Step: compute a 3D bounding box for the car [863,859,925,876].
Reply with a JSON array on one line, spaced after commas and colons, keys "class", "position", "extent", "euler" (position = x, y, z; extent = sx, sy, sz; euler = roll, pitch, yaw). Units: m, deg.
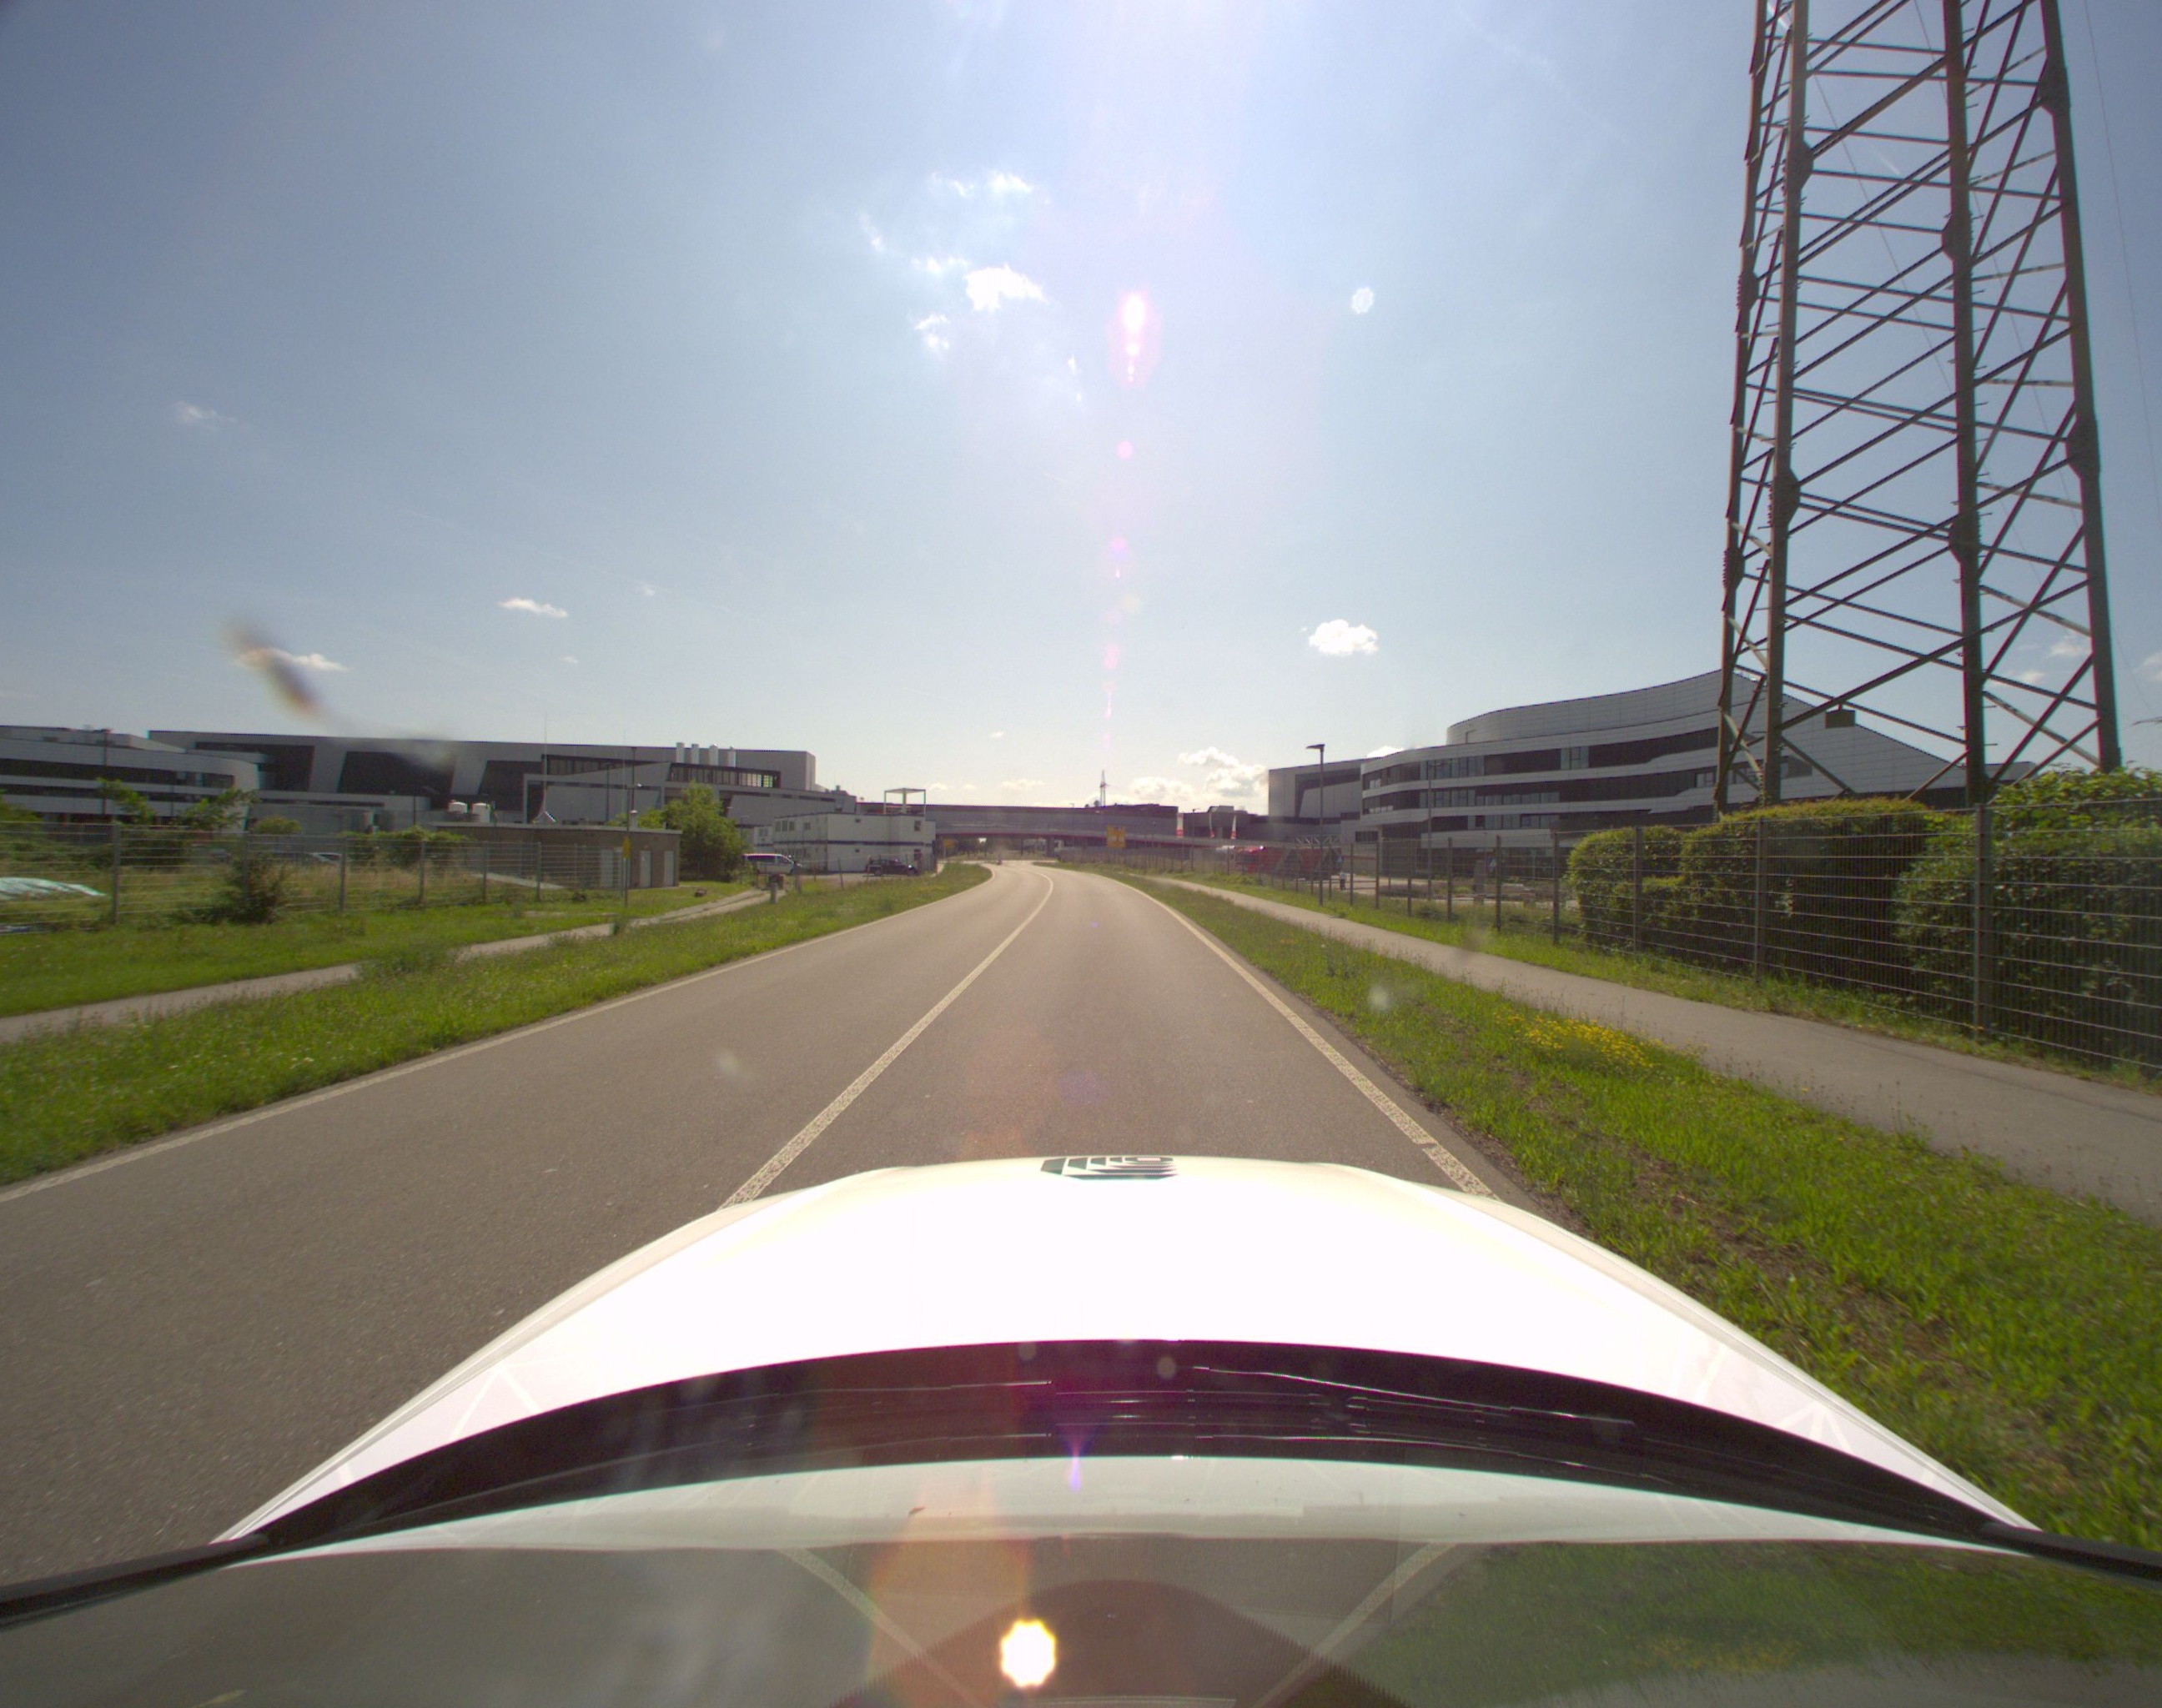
[{"class": "car", "position": [-16.078, 1.162, 69.989], "extent": [4.982, 1.417, 1.988], "euler": [0, 0, -18]}]

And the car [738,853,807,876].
[{"class": "car", "position": [-25.836, 0.896, 68.227], "extent": [5.045, 1.866, 1.978], "euler": [1, 0, -38]}]

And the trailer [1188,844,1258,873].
[{"class": "trailer", "position": [22.535, 0.695, 128.442], "extent": [14.139, 4.438, 2.733], "euler": [0, -1, -42]}]

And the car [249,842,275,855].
[{"class": "car", "position": [-126.016, -0.823, 125.300], "extent": [2.008, 1.866, 4.269], "euler": [1, 0, -34]}]

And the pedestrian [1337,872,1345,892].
[{"class": "pedestrian", "position": [22.008, 2.349, 68.944], "extent": [0.482, 1.653, 0.573], "euler": [1, 0, -4]}]

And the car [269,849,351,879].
[{"class": "car", "position": [-52.221, 0.661, 55.254], "extent": [4.022, 2.014, 1.976], "euler": [0, -1, -43]}]

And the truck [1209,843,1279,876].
[{"class": "truck", "position": [21.300, 0.652, 105.802], "extent": [11.031, 4.172, 2.789], "euler": [0, -1, -41]}]

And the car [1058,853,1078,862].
[{"class": "car", "position": [-2.301, 0.571, 141.694], "extent": [1.976, 1.544, 4.022], "euler": [-1, 0, 23]}]

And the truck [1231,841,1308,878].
[{"class": "truck", "position": [22.483, 0.618, 96.744], "extent": [11.032, 4.256, 2.993], "euler": [0, -1, -41]}]
